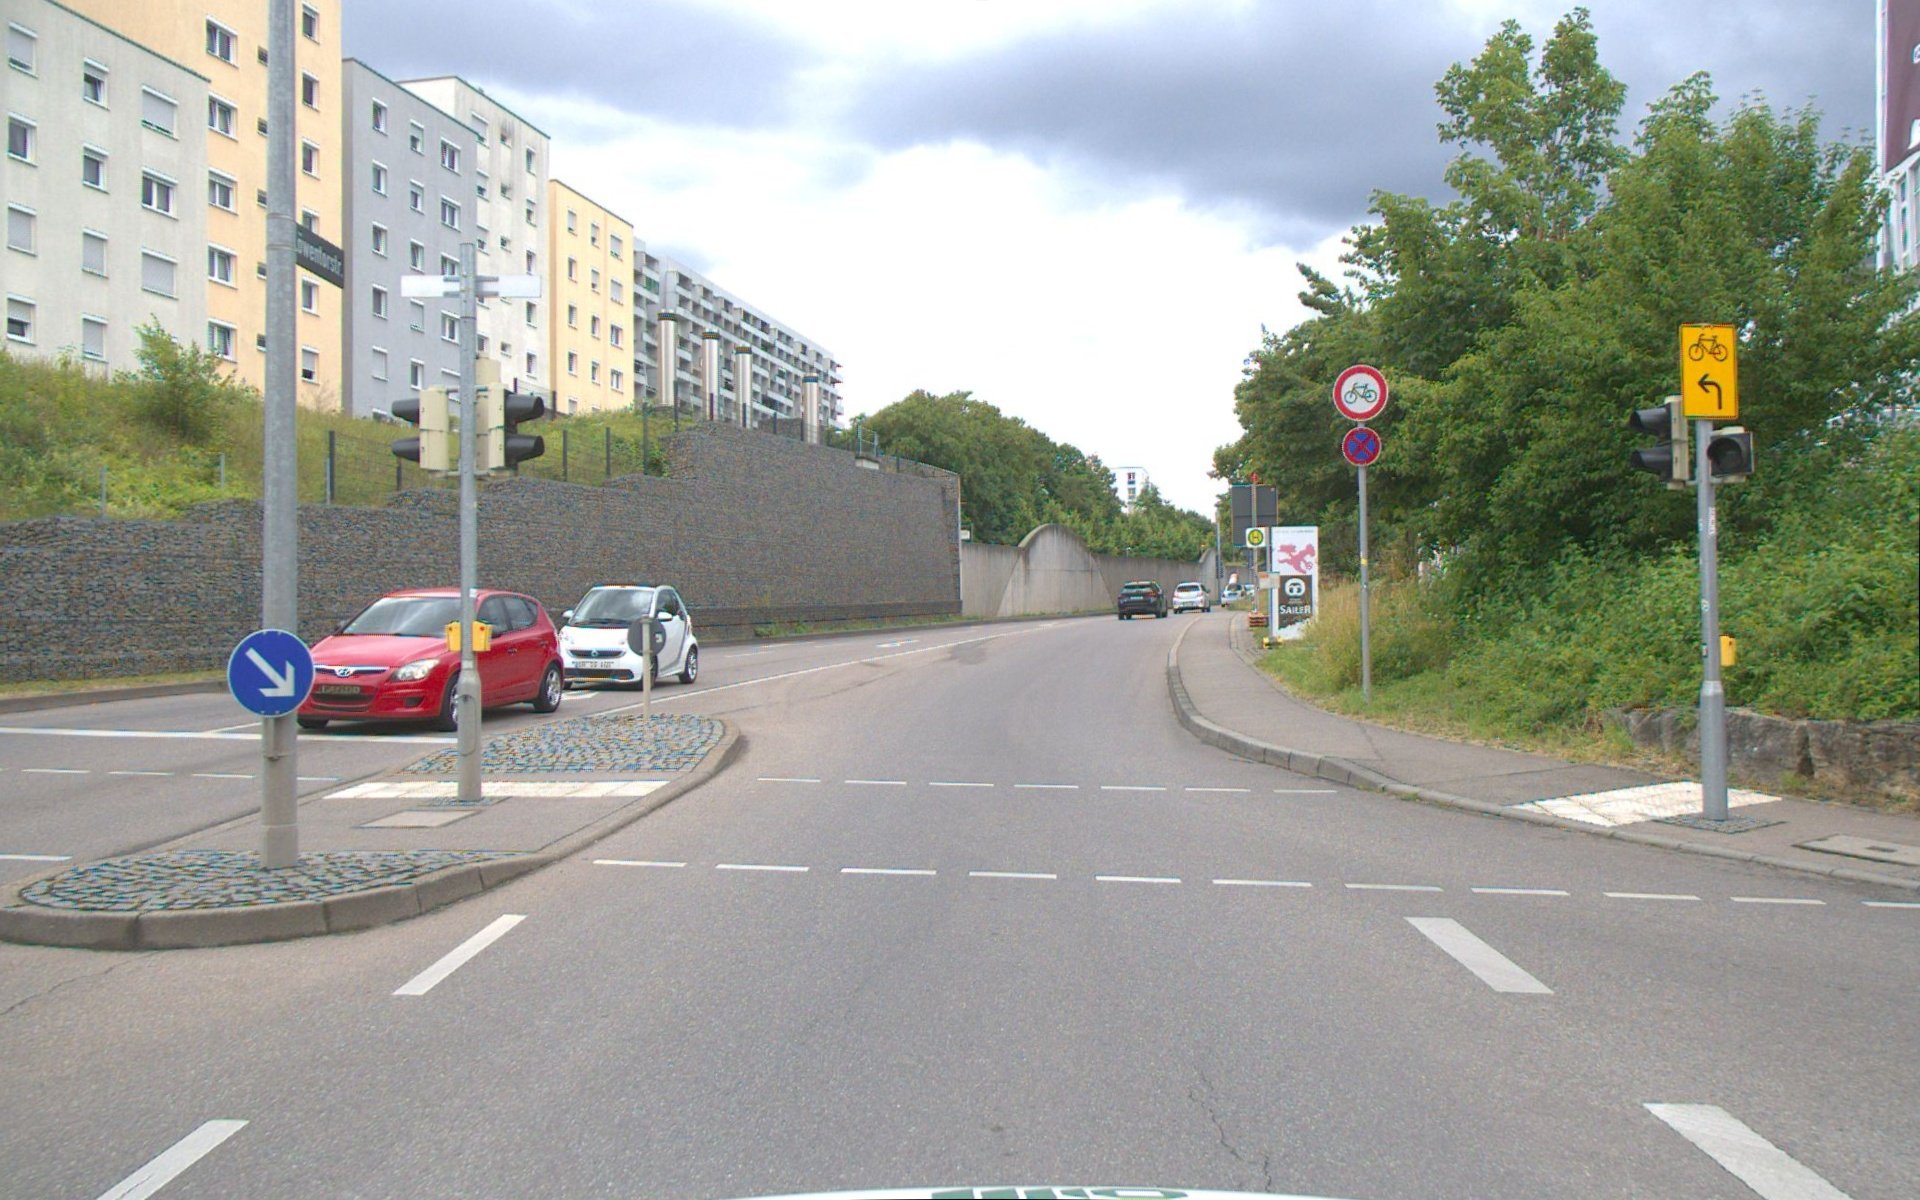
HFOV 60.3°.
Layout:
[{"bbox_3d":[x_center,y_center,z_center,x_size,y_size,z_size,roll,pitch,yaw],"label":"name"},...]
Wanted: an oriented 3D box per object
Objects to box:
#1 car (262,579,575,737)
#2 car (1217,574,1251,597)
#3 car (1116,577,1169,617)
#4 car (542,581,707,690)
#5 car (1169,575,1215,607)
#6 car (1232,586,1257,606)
[{"bbox_3d":[-5.897,0.608,18.569,1.717,1.550,4.095,1,-1,7],"label":"car"},{"bbox_3d":[18.254,-0.939,109.988,1.827,1.516,4.260,0,0,15],"label":"car"},{"bbox_3d":[7.460,-0.105,67.266,1.717,1.550,4.039,1,-1,12],"label":"car"},{"bbox_3d":[-5.051,0.505,25.212,1.510,1.550,2.916,1,0,9],"label":"car"},{"bbox_3d":[11.759,-0.434,83.640,1.717,1.550,4.039,1,-1,16],"label":"car"},{"bbox_3d":[25.313,-0.381,146.932,1.822,1.660,4.211,-2,0,14],"label":"car"}]
